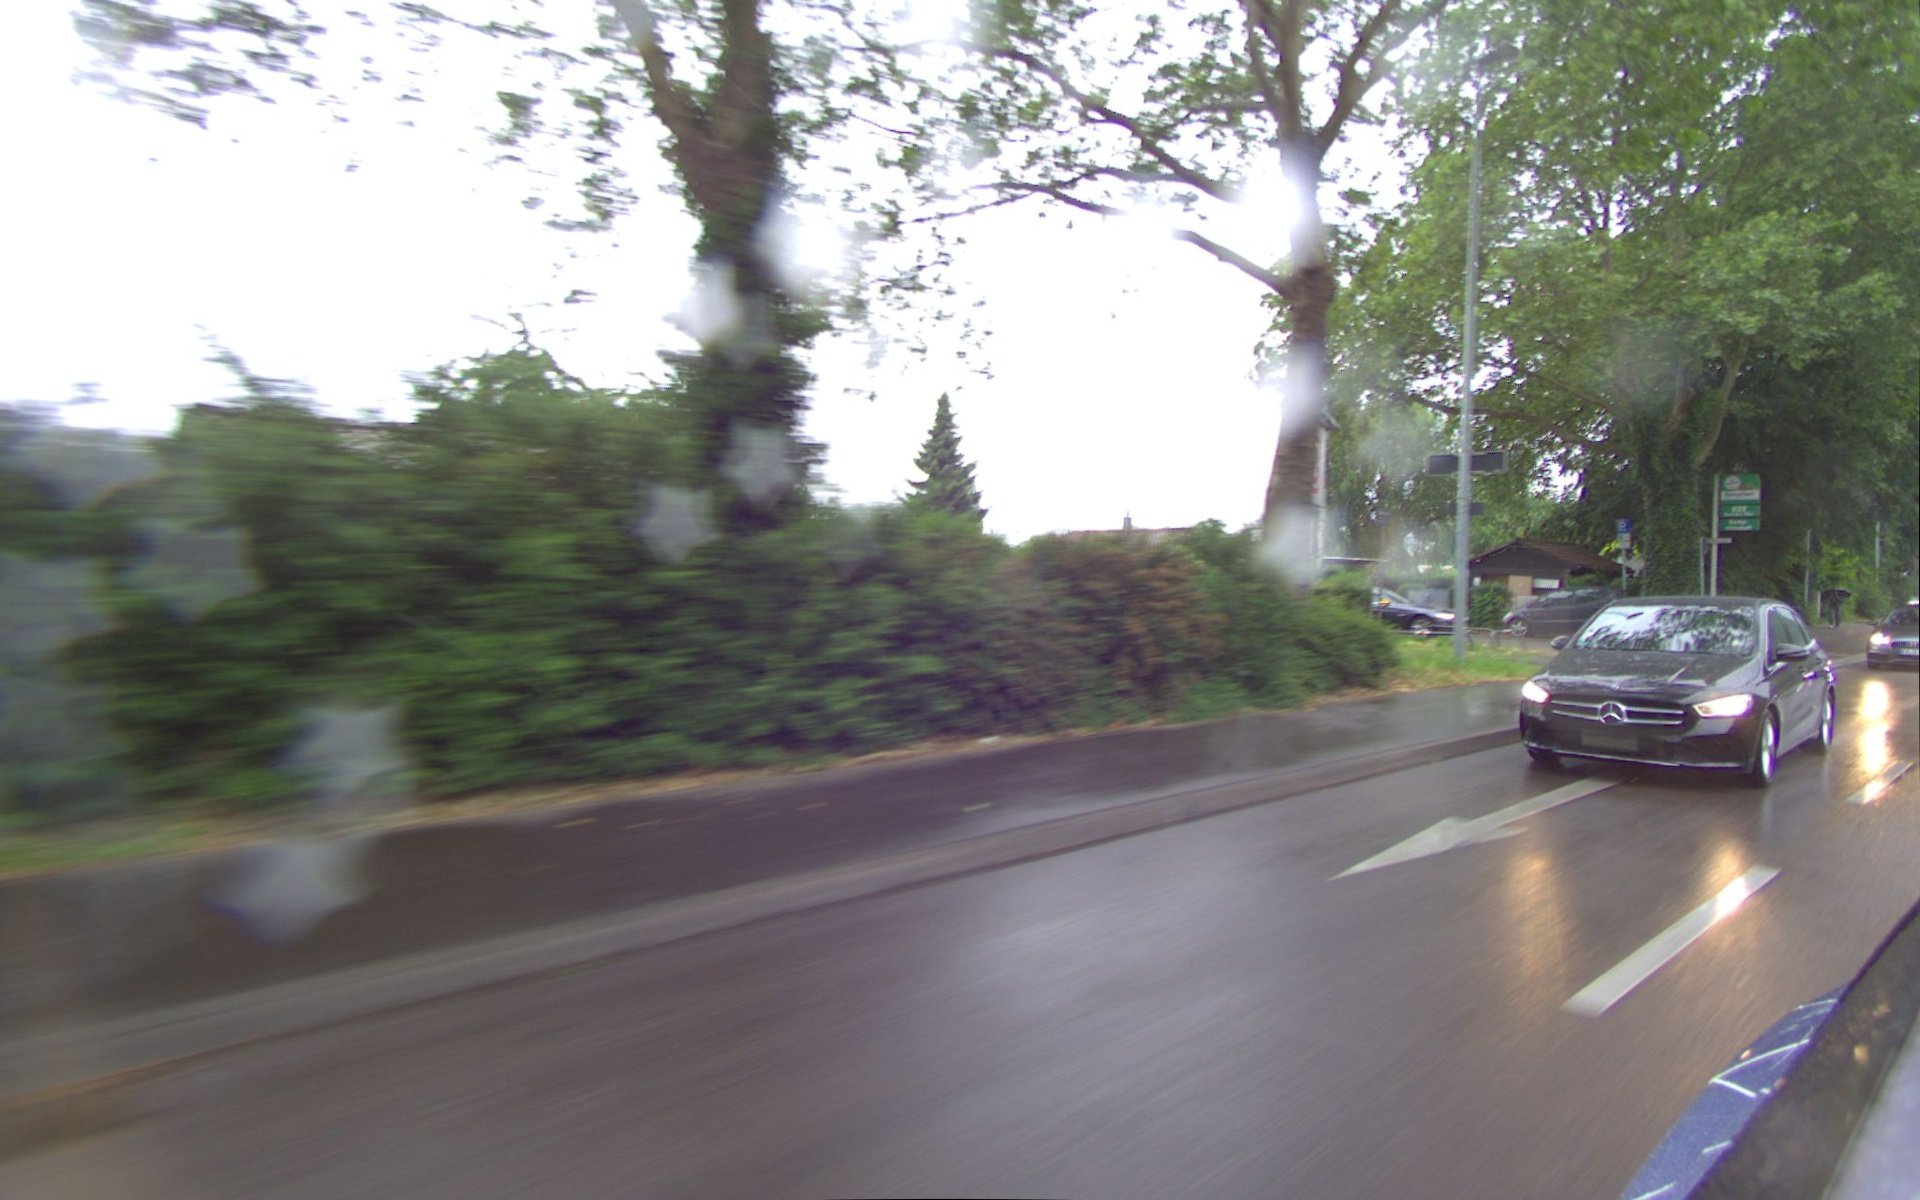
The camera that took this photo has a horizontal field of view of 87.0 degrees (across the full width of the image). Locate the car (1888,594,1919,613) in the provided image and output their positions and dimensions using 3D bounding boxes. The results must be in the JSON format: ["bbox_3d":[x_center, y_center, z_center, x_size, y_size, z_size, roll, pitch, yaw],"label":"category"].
[{"bbox_3d":[73.465,0.255,77.562,1.580,1.450,3.550,-1,0,6],"label":"car"}]

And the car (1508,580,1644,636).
[{"bbox_3d":[18.910,0.213,31.103,3.375,1.629,1.635,1,-1,40],"label":"car"}]

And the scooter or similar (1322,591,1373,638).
[{"bbox_3d":[9.484,0.341,24.740,1.250,1.131,0.460,-1,0,-29],"label":"scooter or similar"}]

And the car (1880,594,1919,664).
[{"bbox_3d":[21.103,0.579,21.709,3.717,1.402,1.640,-1,1,-42],"label":"car"}]

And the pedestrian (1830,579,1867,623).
[{"bbox_3d":[35.151,0.040,40.043,1.121,1.724,0.968,-1,-1,-42],"label":"pedestrian"}]

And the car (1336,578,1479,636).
[{"bbox_3d":[12.419,0.182,28.123,3.372,1.516,1.636,1,-1,37],"label":"car"}]

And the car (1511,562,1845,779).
[{"bbox_3d":[6.835,0.489,9.433,4.350,1.549,1.817,-1,0,-45],"label":"car"}]
